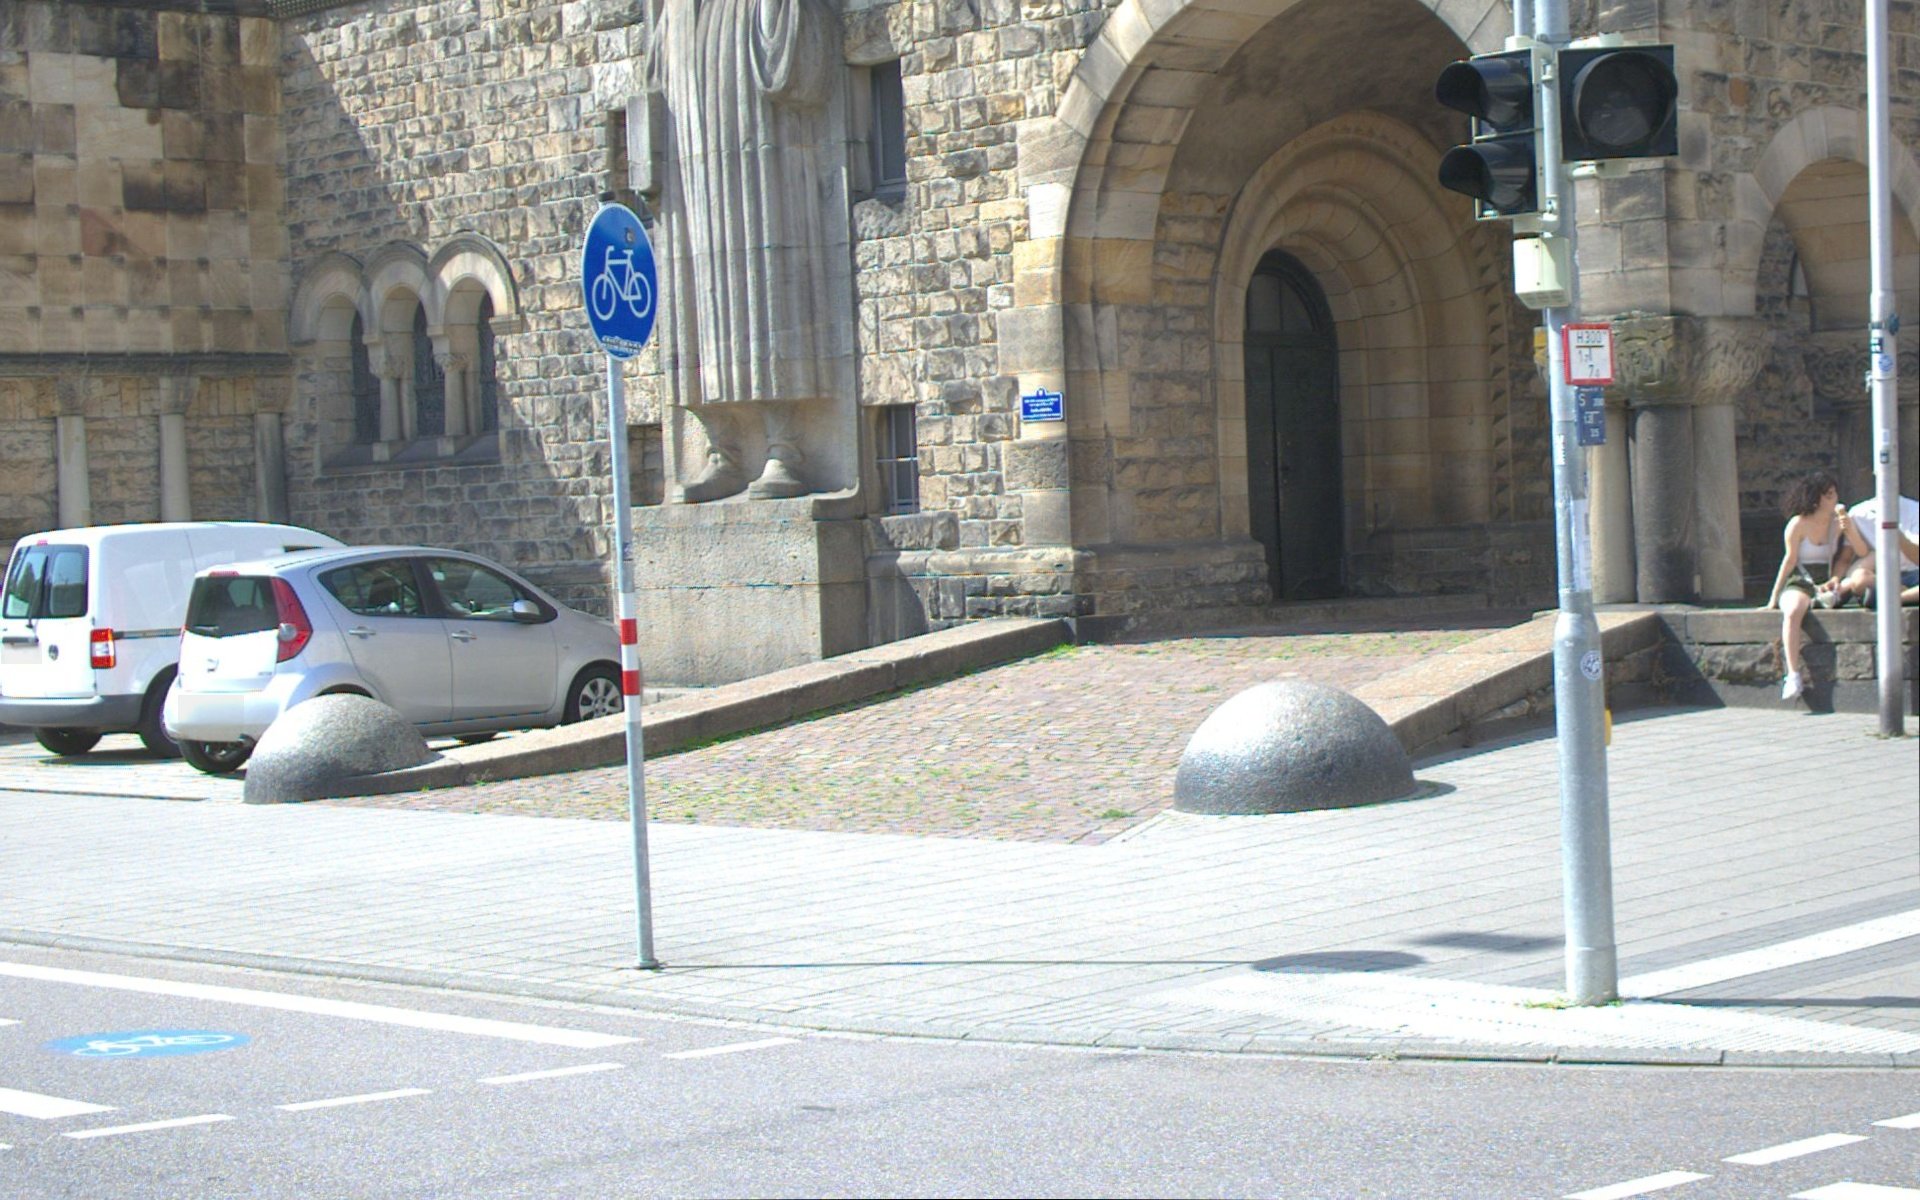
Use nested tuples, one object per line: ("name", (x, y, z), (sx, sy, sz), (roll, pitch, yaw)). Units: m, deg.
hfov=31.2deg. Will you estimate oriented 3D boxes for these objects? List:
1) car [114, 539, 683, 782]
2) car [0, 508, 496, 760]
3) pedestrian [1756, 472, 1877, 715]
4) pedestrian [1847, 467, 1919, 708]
("car", (-4.098, 0.396, 25.446), (1.796, 1.541, 3.769), (-1, 2, 45))
("car", (-6.006, 0.225, 28.236), (1.862, 1.817, 4.005), (-1, 2, 44))
("pedestrian", (5.280, -0.046, 21.203), (0.557, 1.401, 0.518), (-4, 7, -1))
("pedestrian", (5.845, -0.089, 21.203), (0.557, 1.401, 0.518), (-4, 7, -1))
